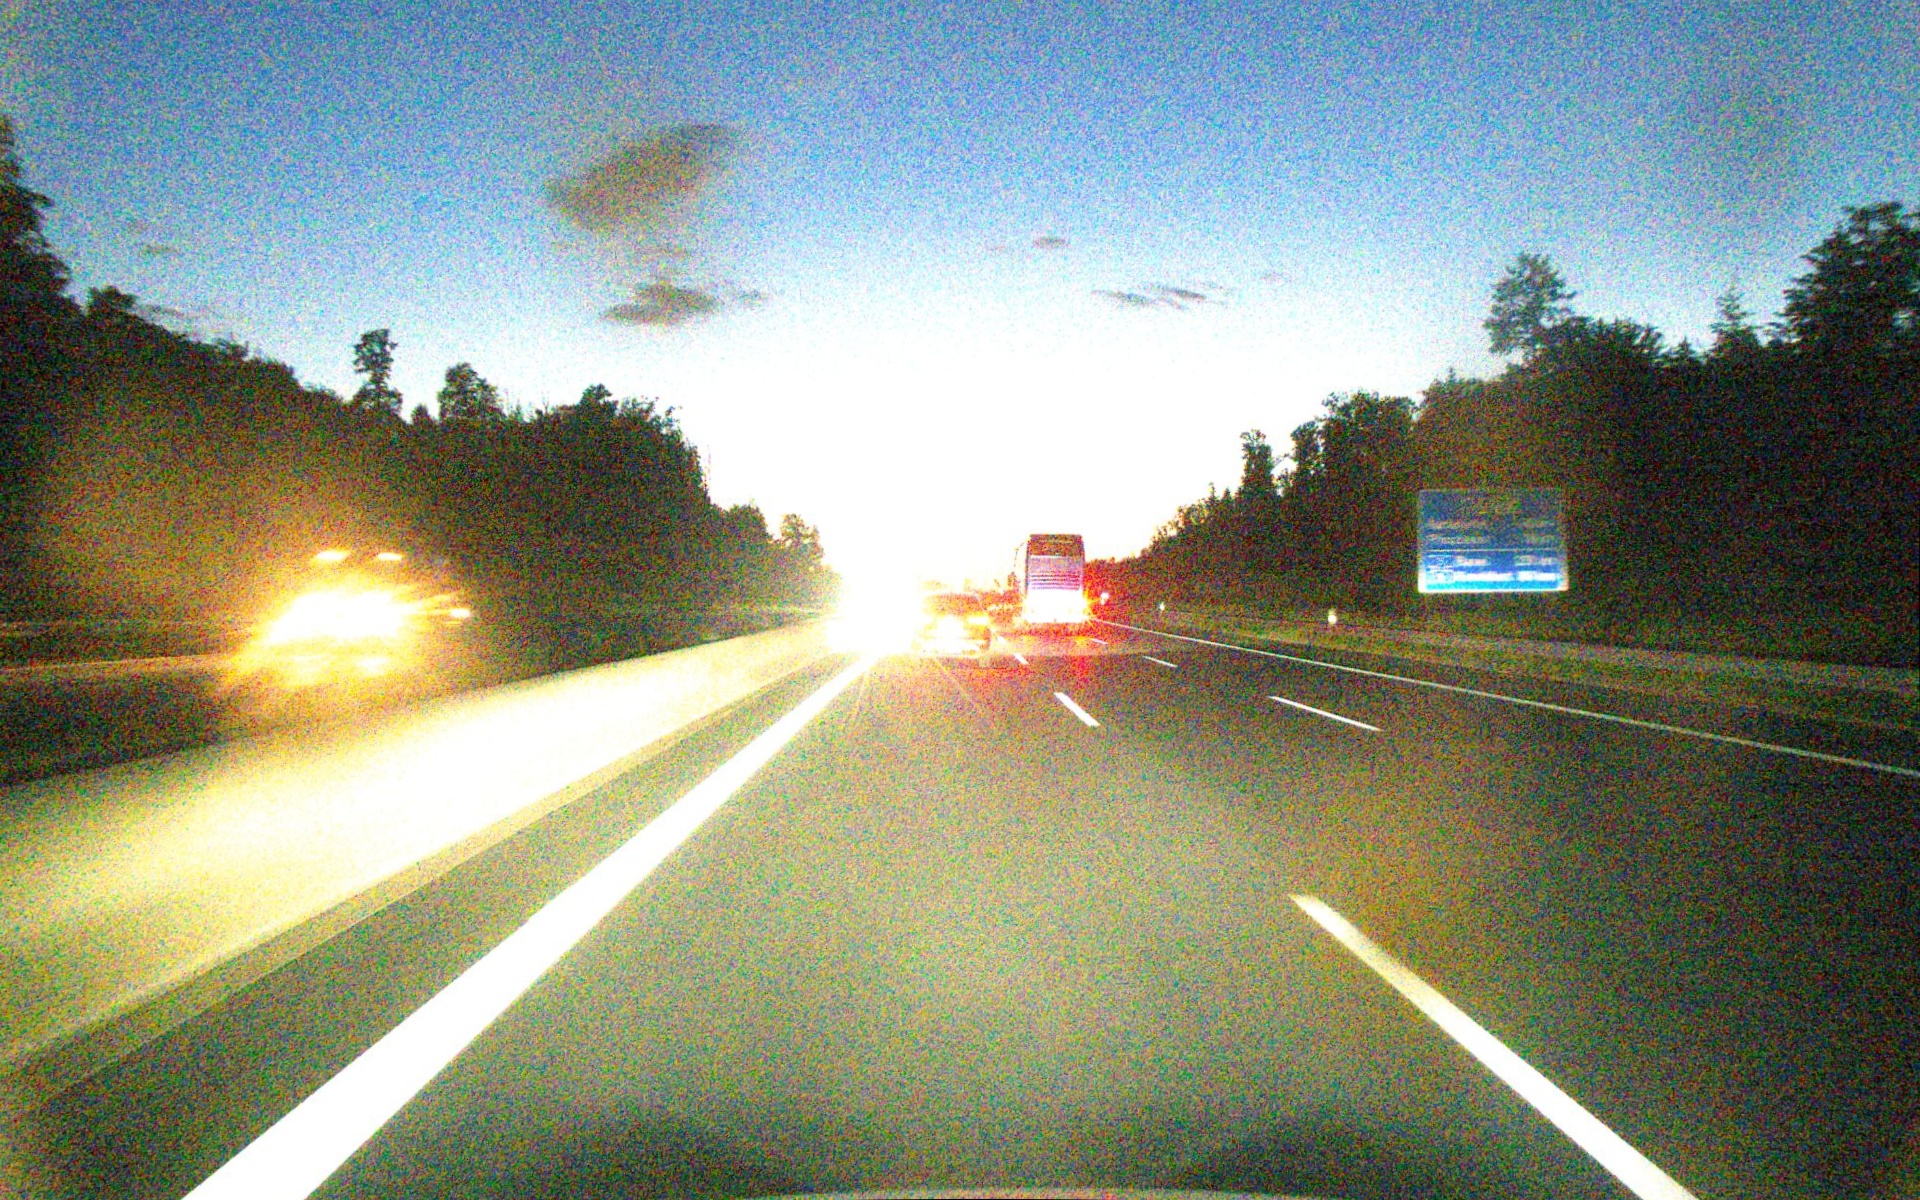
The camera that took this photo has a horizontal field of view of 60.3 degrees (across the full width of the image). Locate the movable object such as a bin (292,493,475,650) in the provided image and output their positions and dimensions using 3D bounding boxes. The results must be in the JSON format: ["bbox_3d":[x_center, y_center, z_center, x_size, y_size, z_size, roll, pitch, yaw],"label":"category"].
[{"bbox_3d":[-15.280,-0.703,44.446,2.246,3.835,7.685,0,0,-1],"label":"movable object such as a bin"}]

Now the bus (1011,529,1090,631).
[{"bbox_3d":[3.874,-0.716,74.314,2.598,4.064,14.699,-1,-1,0],"label":"bus"}]

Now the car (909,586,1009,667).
[{"bbox_3d":[-0.090,0.594,36.755,2.063,1.646,4.202,-1,-1,-2],"label":"car"}]
